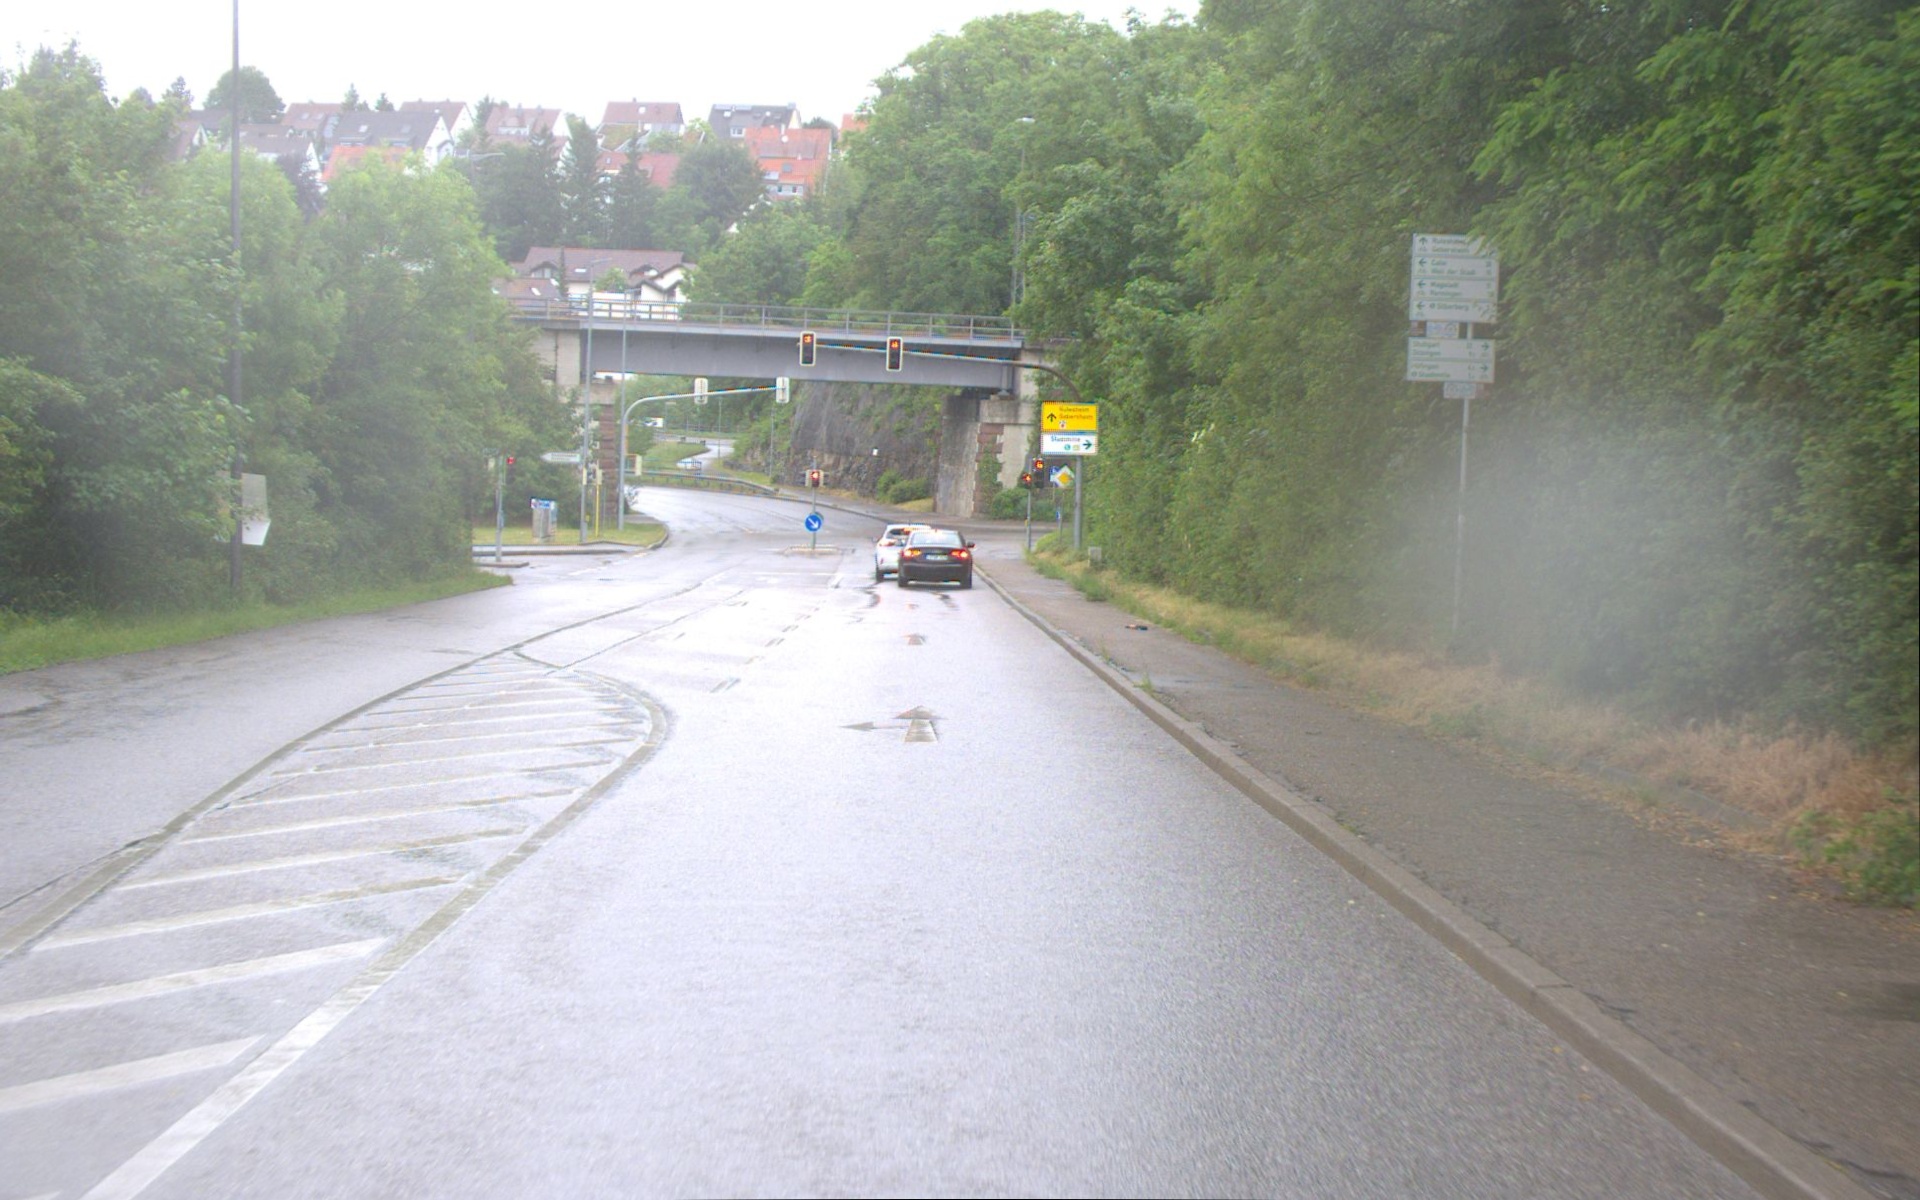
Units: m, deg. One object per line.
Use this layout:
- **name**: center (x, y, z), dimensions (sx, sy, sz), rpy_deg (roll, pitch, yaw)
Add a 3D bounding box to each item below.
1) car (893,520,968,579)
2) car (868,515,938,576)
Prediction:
- **car**: center (-0.699, -1.232, 83.402), dimensions (1.768, 1.375, 4.000), rpy_deg (0, 1, 0)
- **car**: center (-1.462, -1.444, 90.067), dimensions (1.768, 1.557, 4.000), rpy_deg (0, 1, 0)
